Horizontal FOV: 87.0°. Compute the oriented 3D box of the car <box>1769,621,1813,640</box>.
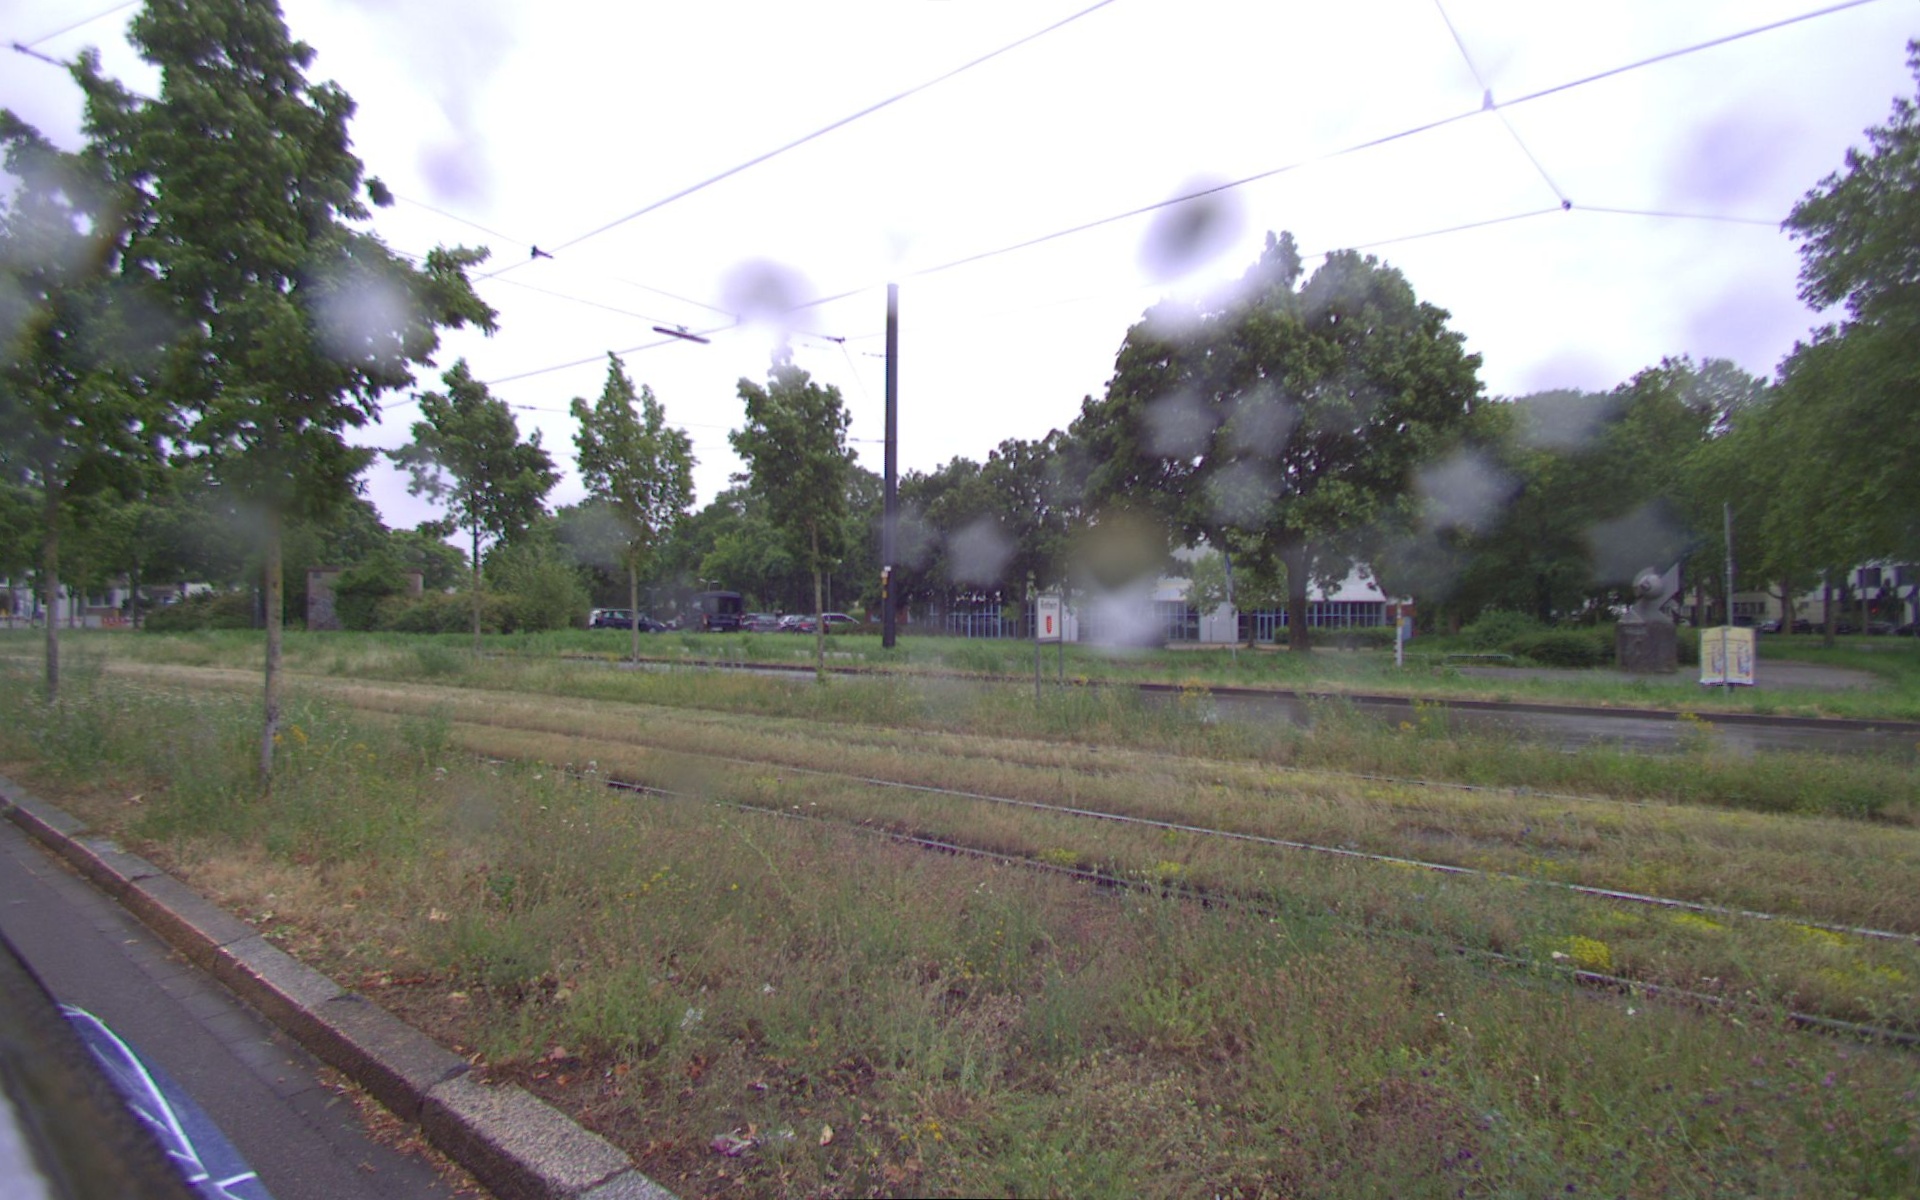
[{"bbox_3d":[83.004,3.026,101.148,1.982,1.796,3.979,-1,0,16],"label":"car"}]

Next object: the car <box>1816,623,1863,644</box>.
[{"bbox_3d":[81.683,3.105,94.050,1.986,1.796,3.972,-1,0,21],"label":"car"}]

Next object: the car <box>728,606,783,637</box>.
[{"bbox_3d":[-10.894,1.126,53.712,1.726,1.542,4.865,-1,0,-25],"label":"car"}]

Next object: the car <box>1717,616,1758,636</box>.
[{"bbox_3d":[86.360,2.834,112.470,2.108,2.104,3.982,-1,0,14],"label":"car"}]

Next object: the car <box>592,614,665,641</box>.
[{"bbox_3d":[-20.296,1.648,61.903,4.110,1.494,1.789,-1,0,-23],"label":"car"}]

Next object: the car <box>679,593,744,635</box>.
[{"bbox_3d":[-12.811,0.705,51.939,2.273,2.029,5.134,-1,0,-25],"label":"car"}]

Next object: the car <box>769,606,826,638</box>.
[{"bbox_3d":[-8.813,1.135,54.407,2.026,1.584,5.032,-1,0,-21],"label":"car"}]
